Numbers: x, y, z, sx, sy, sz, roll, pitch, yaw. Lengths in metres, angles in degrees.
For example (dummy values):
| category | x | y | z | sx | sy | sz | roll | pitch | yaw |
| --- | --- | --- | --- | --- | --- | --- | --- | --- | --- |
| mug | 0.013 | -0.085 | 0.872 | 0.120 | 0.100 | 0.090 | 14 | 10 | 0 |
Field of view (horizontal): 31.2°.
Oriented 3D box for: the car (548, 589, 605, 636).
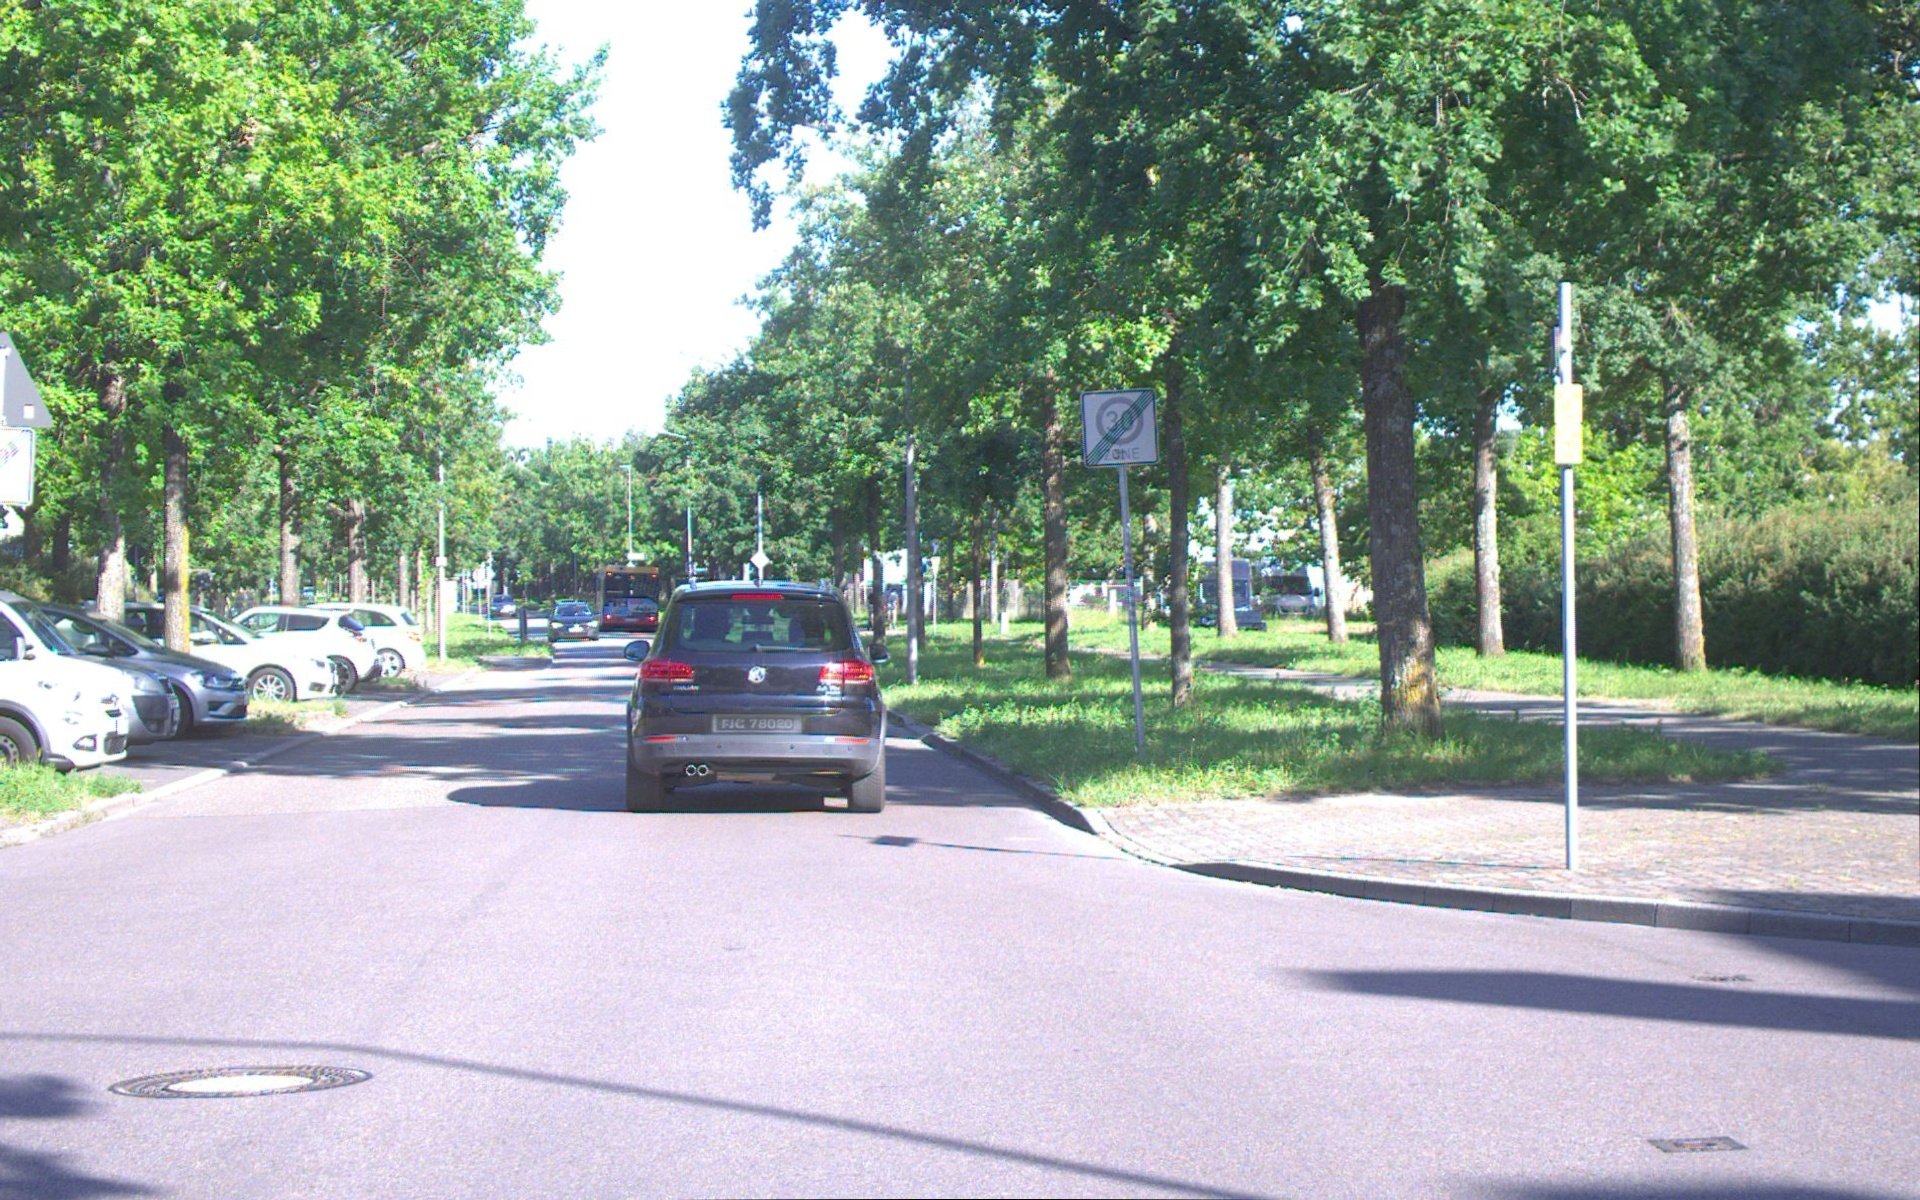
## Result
| category | x | y | z | sx | sy | sz | roll | pitch | yaw |
| --- | --- | --- | --- | --- | --- | --- | --- | --- | --- |
| car | -14.114 | 0.455 | 126.606 | 1.852 | 1.687 | 3.956 | -1 | 0 | -3 |

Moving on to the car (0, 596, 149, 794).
| category | x | y | z | sx | sy | sz | roll | pitch | yaw |
| --- | --- | --- | --- | --- | --- | --- | --- | --- | --- |
| car | -9.196 | 0.796 | 29.157 | 4.241 | 1.617 | 1.897 | -1 | 0 | -3 |

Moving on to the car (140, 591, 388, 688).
| category | x | y | z | sx | sy | sz | roll | pitch | yaw |
| --- | --- | --- | --- | --- | --- | --- | --- | --- | --- |
| car | -12.112 | 0.678 | 60.033 | 4.016 | 1.642 | 1.811 | -1 | 0 | -3 |

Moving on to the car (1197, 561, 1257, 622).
| category | x | y | z | sx | sy | sz | roll | pitch | yaw |
| --- | --- | --- | --- | --- | --- | --- | --- | --- | --- |
| car | 9.182 | -0.277 | 118.070 | 1.994 | 2.007 | 3.999 | -1 | 0 | 5 |

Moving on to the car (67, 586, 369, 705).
| category | x | y | z | sx | sy | sz | roll | pitch | yaw |
| --- | --- | --- | --- | --- | --- | --- | --- | --- | --- |
| car | -10.649 | 0.644 | 49.564 | 4.016 | 1.642 | 1.811 | -1 | 0 | -3 |

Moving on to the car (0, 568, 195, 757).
| category | x | y | z | sx | sy | sz | roll | pitch | yaw |
| --- | --- | --- | --- | --- | --- | --- | --- | --- | --- |
| car | -9.890 | 0.621 | 34.542 | 4.016 | 1.833 | 1.897 | -1 | 0 | -3 |

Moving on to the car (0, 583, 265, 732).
| category | x | y | z | sx | sy | sz | roll | pitch | yaw |
| --- | --- | --- | --- | --- | --- | --- | --- | --- | --- |
| car | -10.167 | 0.651 | 39.562 | 4.016 | 1.642 | 1.897 | -1 | 0 | -3 |

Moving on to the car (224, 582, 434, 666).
| category | x | y | z | sx | sy | sz | roll | pitch | yaw |
| --- | --- | --- | --- | --- | --- | --- | --- | --- | --- |
| car | -12.919 | 0.482 | 70.519 | 4.016 | 1.642 | 1.811 | -1 | 0 | -3 |

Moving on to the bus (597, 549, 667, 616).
| category | x | y | z | sx | sy | sz | roll | pitch | yaw |
| --- | --- | --- | --- | --- | --- | --- | --- | --- | --- |
| bus | -15.114 | -0.785 | 158.728 | 2.928 | 2.993 | 5.737 | -1 | 0 | -3 |

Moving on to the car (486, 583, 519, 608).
| category | x | y | z | sx | sy | sz | roll | pitch | yaw |
| --- | --- | --- | --- | --- | --- | --- | --- | --- | --- |
| car | -29.117 | -0.282 | 218.831 | 1.825 | 1.546 | 3.689 | -1 | 1 | -3 |

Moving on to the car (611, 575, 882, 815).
| category | x | y | z | sx | sy | sz | roll | pitch | yaw |
| --- | --- | --- | --- | --- | --- | --- | --- | --- | --- |
| car | -1.521 | 0.637 | 25.477 | 1.838 | 1.631 | 3.958 | 0 | 0 | -2 |

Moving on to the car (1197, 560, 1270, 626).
| category | x | y | z | sx | sy | sz | roll | pitch | yaw |
| --- | --- | --- | --- | --- | --- | --- | --- | --- | --- |
| car | 8.565 | -0.242 | 107.872 | 2.054 | 2.007 | 4.000 | -1 | 1 | 2 |
